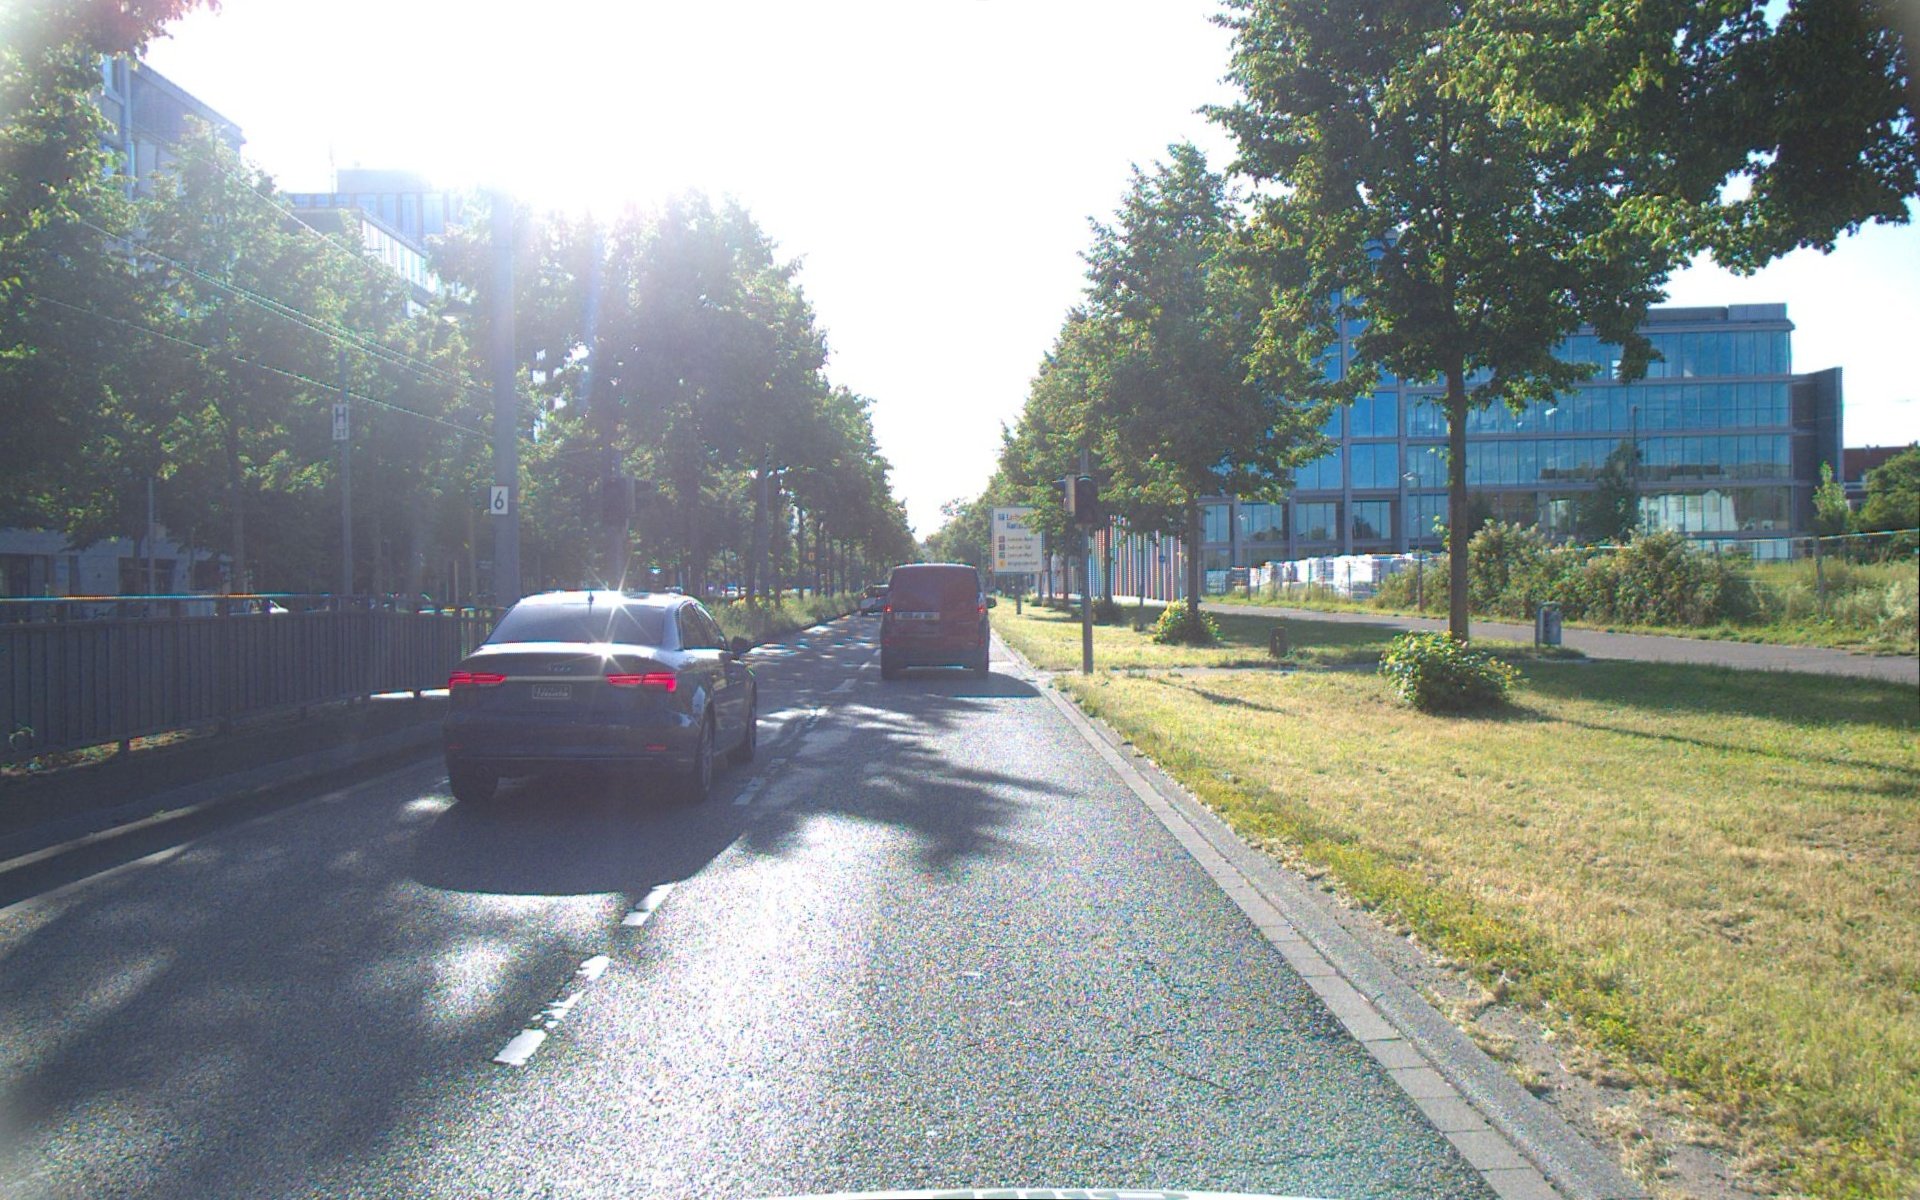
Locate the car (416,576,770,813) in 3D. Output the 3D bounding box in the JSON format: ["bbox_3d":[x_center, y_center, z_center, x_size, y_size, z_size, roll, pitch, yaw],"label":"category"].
[{"bbox_3d":[-2.509,0.558,12.311,1.686,1.390,4.146,1,1,0],"label":"car"}]

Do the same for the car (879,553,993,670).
[{"bbox_3d":[-0.443,0.151,27.456,1.761,1.808,3.998,0,1,-2],"label":"car"}]

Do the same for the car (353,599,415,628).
[{"bbox_3d":[-31.696,0.742,91.142,1.680,1.445,4.546,-2,1,1],"label":"car"}]

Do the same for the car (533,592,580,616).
[{"bbox_3d":[-22.996,0.195,94.305,1.732,1.259,3.485,-2,1,1],"label":"car"}]

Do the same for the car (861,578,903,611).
[{"bbox_3d":[-3.689,-0.264,78.231,1.903,1.466,3.998,-2,1,-3],"label":"car"}]

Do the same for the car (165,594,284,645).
[{"bbox_3d":[-23.053,0.579,52.037,1.781,1.428,4.508,-2,1,-1],"label":"car"}]
